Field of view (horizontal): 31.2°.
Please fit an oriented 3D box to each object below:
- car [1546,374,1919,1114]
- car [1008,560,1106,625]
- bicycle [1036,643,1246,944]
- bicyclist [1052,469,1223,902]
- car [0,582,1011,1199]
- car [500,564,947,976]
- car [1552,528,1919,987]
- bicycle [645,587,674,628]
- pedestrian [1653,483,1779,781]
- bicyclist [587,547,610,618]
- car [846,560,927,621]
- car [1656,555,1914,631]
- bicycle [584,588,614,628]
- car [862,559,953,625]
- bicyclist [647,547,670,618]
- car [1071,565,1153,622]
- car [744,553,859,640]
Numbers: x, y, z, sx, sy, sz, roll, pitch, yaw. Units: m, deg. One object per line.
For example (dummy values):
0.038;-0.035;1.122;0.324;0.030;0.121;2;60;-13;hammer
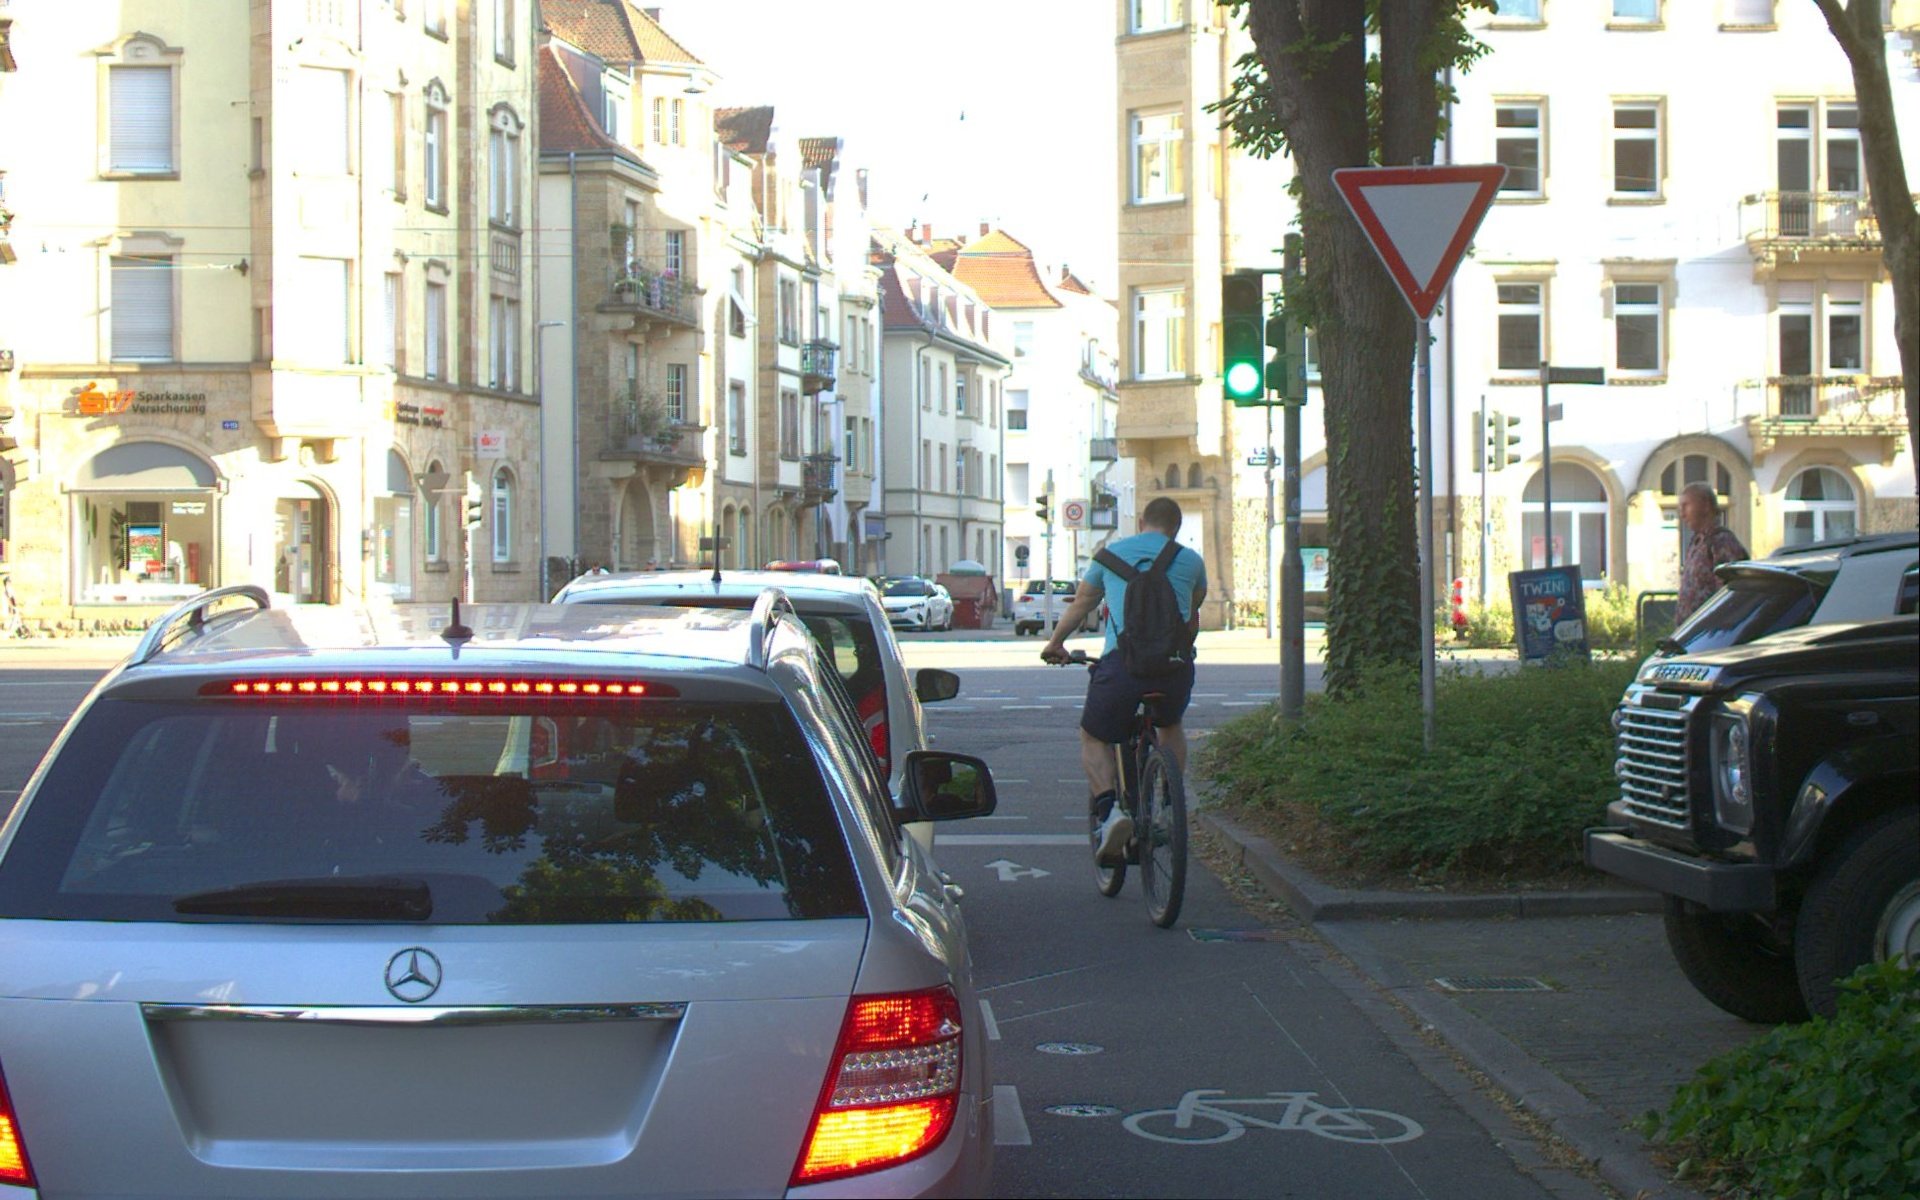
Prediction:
4.185;0.296;10.155;4.490;1.949;1.793;-2;1;-3;car
2.453;-0.200;85.842;1.722;1.473;3.998;-2;1;12;car
0.737;0.779;14.586;0.742;1.114;2.013;1;1;-1;bicycle
0.739;0.348;14.544;0.646;1.769;0.831;1;0;-1;bicyclist
-0.882;0.710;6.454;1.690;1.424;3.493;1;1;-3;car
-0.884;0.570;13.672;1.533;1.386;3.600;0;1;-2;car
4.206;0.507;13.073;3.480;1.580;1.711;-2;1;-6;car
-6.413;0.154;73.444;0.568;0.832;1.566;0;1;-4;bicycle
4.736;0.192;21.551;0.631;1.838;0.575;0;1;-4;pedestrian
-7.694;-0.377;73.162;0.466;1.509;0.655;0;1;-4;bicyclist
-2.175;-0.278;102.406;1.651;1.777;3.861;0;0;11;car
11.857;-0.106;49.515;3.364;1.065;1.380;0;1;-1;car
-7.675;0.168;73.099;0.568;0.832;1.566;0;1;-4;bicycle
-1.383;-0.234;91.659;1.687;1.716;3.998;0;1;10;car
-6.427;-0.377;73.402;0.466;1.516;0.694;0;1;-4;bicyclist
4.535;-0.198;102.101;1.722;1.473;3.998;-4;1;12;car
-3.641;-0.106;79.649;1.938;1.952;4.149;0;1;8;car
